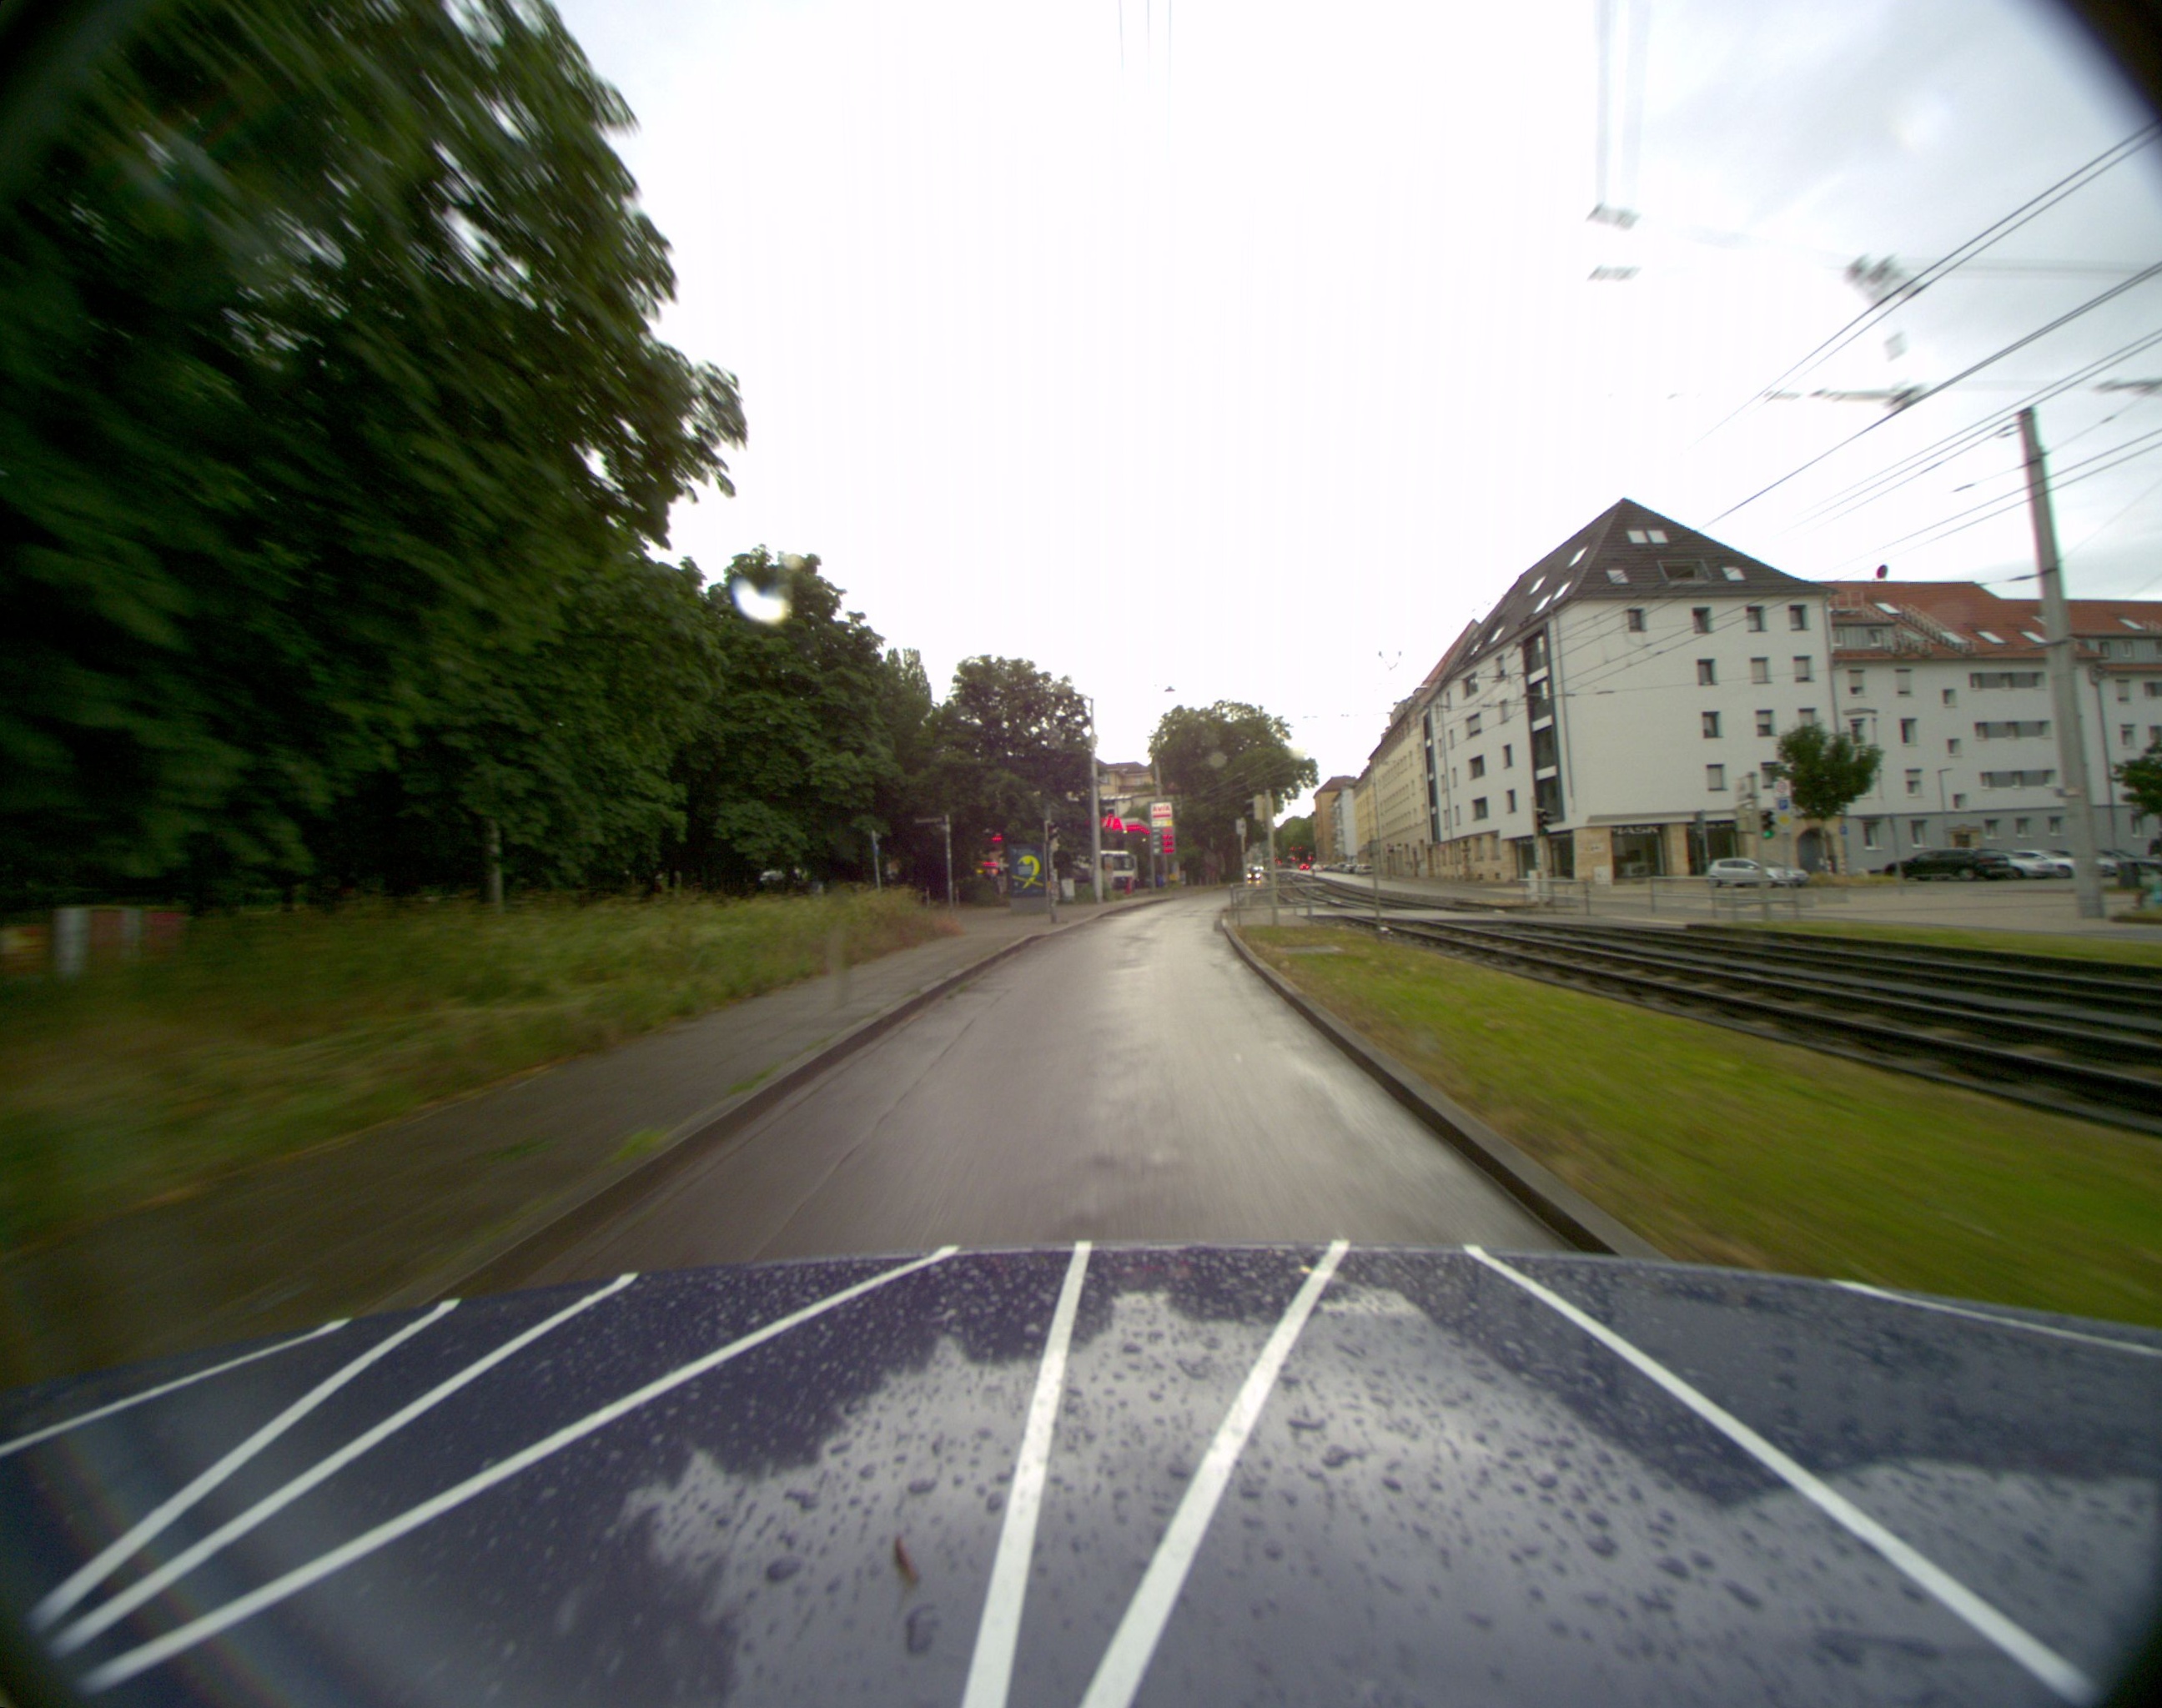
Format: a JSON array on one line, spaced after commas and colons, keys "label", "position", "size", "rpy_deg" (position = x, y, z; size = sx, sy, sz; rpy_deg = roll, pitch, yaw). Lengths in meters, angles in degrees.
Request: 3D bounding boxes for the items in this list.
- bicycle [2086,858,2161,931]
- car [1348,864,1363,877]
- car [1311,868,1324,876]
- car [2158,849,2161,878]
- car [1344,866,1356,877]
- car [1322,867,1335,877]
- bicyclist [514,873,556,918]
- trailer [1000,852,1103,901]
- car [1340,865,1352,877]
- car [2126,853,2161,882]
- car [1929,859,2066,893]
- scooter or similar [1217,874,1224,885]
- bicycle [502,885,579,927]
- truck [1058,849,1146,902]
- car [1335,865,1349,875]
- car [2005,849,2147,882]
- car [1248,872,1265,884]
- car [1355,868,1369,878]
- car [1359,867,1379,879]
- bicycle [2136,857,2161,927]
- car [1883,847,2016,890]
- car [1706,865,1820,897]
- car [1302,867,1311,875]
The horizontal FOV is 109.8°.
[{"label": "bicycle", "position": [23.973, 0.889, 16.702], "size": [0.677, 1.586, 2.362], "rpy_deg": [-2, -1, 4]}, {"label": "car", "position": [43.191, 2.632, 119.707], "size": [1.727, 1.948, 4.304], "rpy_deg": [-2, -1, 13]}, {"label": "car", "position": [48.277, 3.756, 155.189], "size": [1.690, 1.527, 5.021], "rpy_deg": [-2, -2, 6]}, {"label": "car", "position": [62.528, 0.463, 41.364], "size": [1.940, 1.608, 3.999], "rpy_deg": [-1, -1, -7]}, {"label": "car", "position": [44.309, 2.793, 125.208], "size": [1.376, 1.742, 3.409], "rpy_deg": [-2, -1, 11]}, {"label": "car", "position": [52.010, 3.754, 159.924], "size": [2.028, 2.001, 4.231], "rpy_deg": [-2, -1, 11]}, {"label": "bicyclist", "position": [-15.935, 1.221, 22.182], "size": [0.800, 1.286, 0.595], "rpy_deg": [-2, -4, -8]}, {"label": "trailer", "position": [-2.455, 1.703, 57.486], "size": [2.819, 3.375, 9.812], "rpy_deg": [-1, -1, -35]}, {"label": "car", "position": [45.277, 2.850, 129.706], "size": [1.555, 1.871, 4.046], "rpy_deg": [-2, -1, 14]}, {"label": "car", "position": [60.230, 0.718, 41.050], "size": [1.940, 1.608, 3.999], "rpy_deg": [-1, -1, -6]}, {"label": "car", "position": [46.324, 1.120, 38.538], "size": [1.940, 1.608, 3.999], "rpy_deg": [-1, -1, -7]}, {"label": "scooter or similar", "position": [15.660, 2.859, 85.222], "size": [0.399, 1.186, 1.365], "rpy_deg": [-2, 2, 28]}, {"label": "bicycle", "position": [-15.630, 1.503, 22.010], "size": [1.711, 1.133, 0.625], "rpy_deg": [-2, -1, -7]}, {"label": "truck", "position": [1.343, 1.458, 52.100], "size": [2.842, 3.379, 6.110], "rpy_deg": [0, -1, -35]}, {"label": "car", "position": [46.595, 2.882, 135.682], "size": [1.725, 1.798, 3.595], "rpy_deg": [-2, -1, 11]}, {"label": "car", "position": [51.352, 0.633, 39.358], "size": [1.940, 1.608, 3.999], "rpy_deg": [-1, -1, -7]}, {"label": "car", "position": [23.594, 3.255, 102.353], "size": [1.887, 1.482, 3.855], "rpy_deg": [-1, -1, 18]}, {"label": "car", "position": [41.719, 2.798, 112.790], "size": [1.325, 1.475, 3.194], "rpy_deg": [-2, -1, 11]}, {"label": "car", "position": [41.087, 2.697, 108.374], "size": [2.028, 1.533, 4.004], "rpy_deg": [-2, -1, 11]}, {"label": "bicycle", "position": [25.062, 0.855, 16.636], "size": [0.677, 1.586, 2.362], "rpy_deg": [-2, -1, 4]}, {"label": "car", "position": [43.499, 0.760, 38.198], "size": [1.940, 2.001, 3.999], "rpy_deg": [-1, -1, -7]}, {"label": "car", "position": [32.534, 1.257, 36.402], "size": [1.601, 1.411, 3.914], "rpy_deg": [-2, -1, -10]}, {"label": "car", "position": [57.330, 4.253, 193.070], "size": [1.947, 2.001, 4.005], "rpy_deg": [-2, -1, 14]}]
